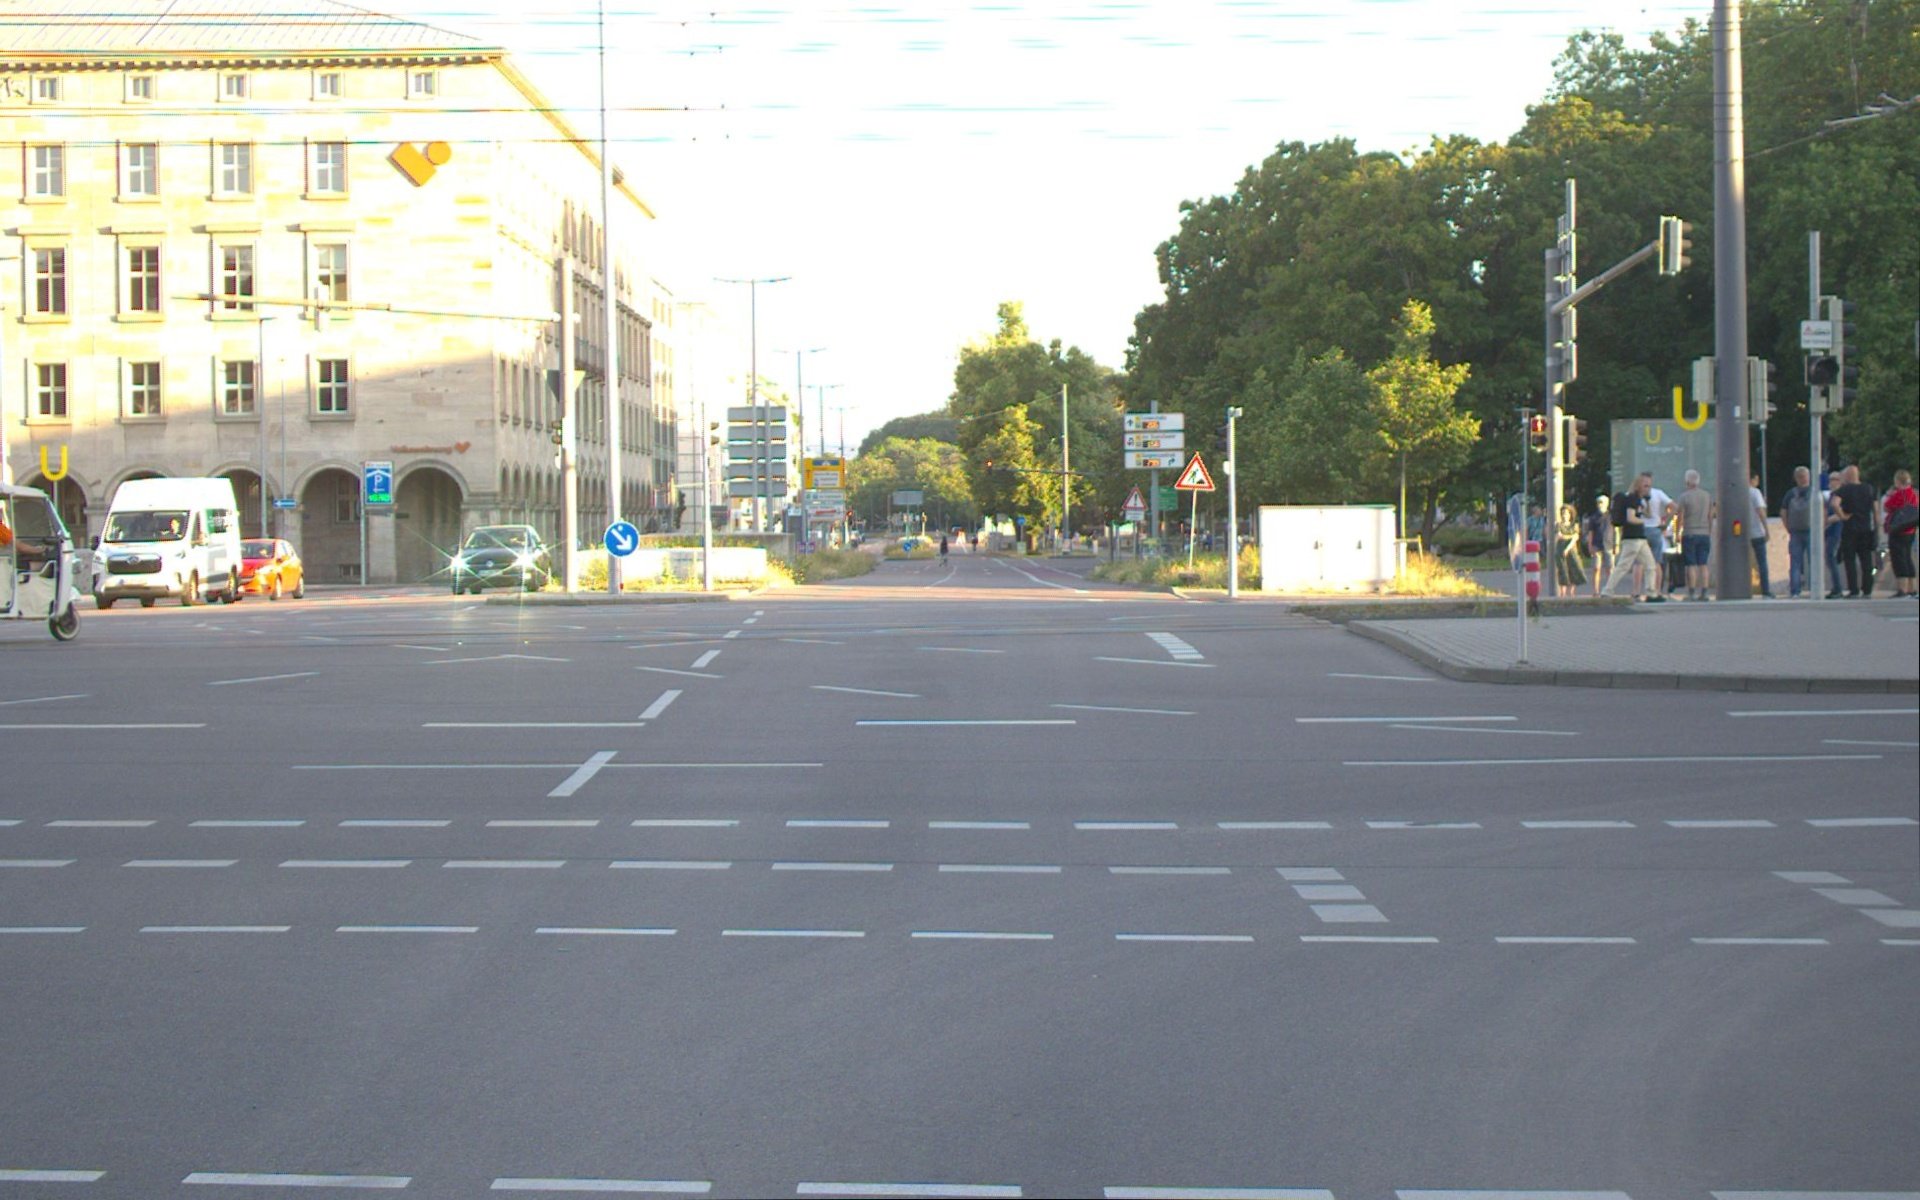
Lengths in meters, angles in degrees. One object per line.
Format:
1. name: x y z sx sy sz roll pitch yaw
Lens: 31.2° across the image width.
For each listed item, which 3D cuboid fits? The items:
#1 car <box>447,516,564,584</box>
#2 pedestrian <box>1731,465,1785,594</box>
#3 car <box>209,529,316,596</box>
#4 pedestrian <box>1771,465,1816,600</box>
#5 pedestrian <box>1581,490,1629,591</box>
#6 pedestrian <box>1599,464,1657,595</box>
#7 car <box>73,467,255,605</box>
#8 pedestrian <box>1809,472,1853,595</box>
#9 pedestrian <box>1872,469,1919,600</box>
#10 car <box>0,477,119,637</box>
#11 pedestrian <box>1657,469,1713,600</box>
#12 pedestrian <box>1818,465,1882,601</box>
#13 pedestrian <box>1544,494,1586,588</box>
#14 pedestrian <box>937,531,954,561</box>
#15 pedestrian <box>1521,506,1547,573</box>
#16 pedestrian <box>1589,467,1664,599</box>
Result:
1. car: -9.561 -1.069 72.629 1.823 1.337 4.000 -1 2 2
2. pedestrian: 10.793 -0.959 46.511 0.711 1.719 0.914 0 2 13
3. car: -16.440 -0.909 81.184 1.738 1.482 4.001 -1 2 -1
4. pedestrian: 11.062 -0.899 45.629 0.572 1.785 0.638 0 2 14
5. pedestrian: 11.361 -1.054 60.526 0.680 1.751 0.901 0 2 20
6. pedestrian: 8.907 -0.942 45.835 0.711 1.719 0.668 0 2 15
7. car: -16.697 -1.378 72.476 2.279 2.766 6.084 -1 2 1
8. pedestrian: 11.937 -0.915 47.124 0.572 1.673 0.638 0 2 14
9. pedestrian: 12.668 -0.883 46.007 0.845 1.728 0.705 0 2 12
10. car: -10.644 -0.465 36.955 1.485 1.690 2.969 0 2 29
11. pedestrian: 9.634 -0.876 45.680 0.711 1.719 0.668 0 2 13
12. pedestrian: 11.817 -0.890 45.642 0.805 1.785 0.800 0 2 14
13. pedestrian: 10.687 -1.049 60.701 0.560 1.649 0.901 0 2 20
14. pedestrian: -0.832 -3.082 194.914 0.906 1.665 1.307 -1 2 -1
15. pedestrian: 15.214 -1.599 91.106 0.642 1.754 0.524 0 2 8
16. pedestrian: 8.741 -0.880 45.077 0.912 1.719 0.713 0 2 15
